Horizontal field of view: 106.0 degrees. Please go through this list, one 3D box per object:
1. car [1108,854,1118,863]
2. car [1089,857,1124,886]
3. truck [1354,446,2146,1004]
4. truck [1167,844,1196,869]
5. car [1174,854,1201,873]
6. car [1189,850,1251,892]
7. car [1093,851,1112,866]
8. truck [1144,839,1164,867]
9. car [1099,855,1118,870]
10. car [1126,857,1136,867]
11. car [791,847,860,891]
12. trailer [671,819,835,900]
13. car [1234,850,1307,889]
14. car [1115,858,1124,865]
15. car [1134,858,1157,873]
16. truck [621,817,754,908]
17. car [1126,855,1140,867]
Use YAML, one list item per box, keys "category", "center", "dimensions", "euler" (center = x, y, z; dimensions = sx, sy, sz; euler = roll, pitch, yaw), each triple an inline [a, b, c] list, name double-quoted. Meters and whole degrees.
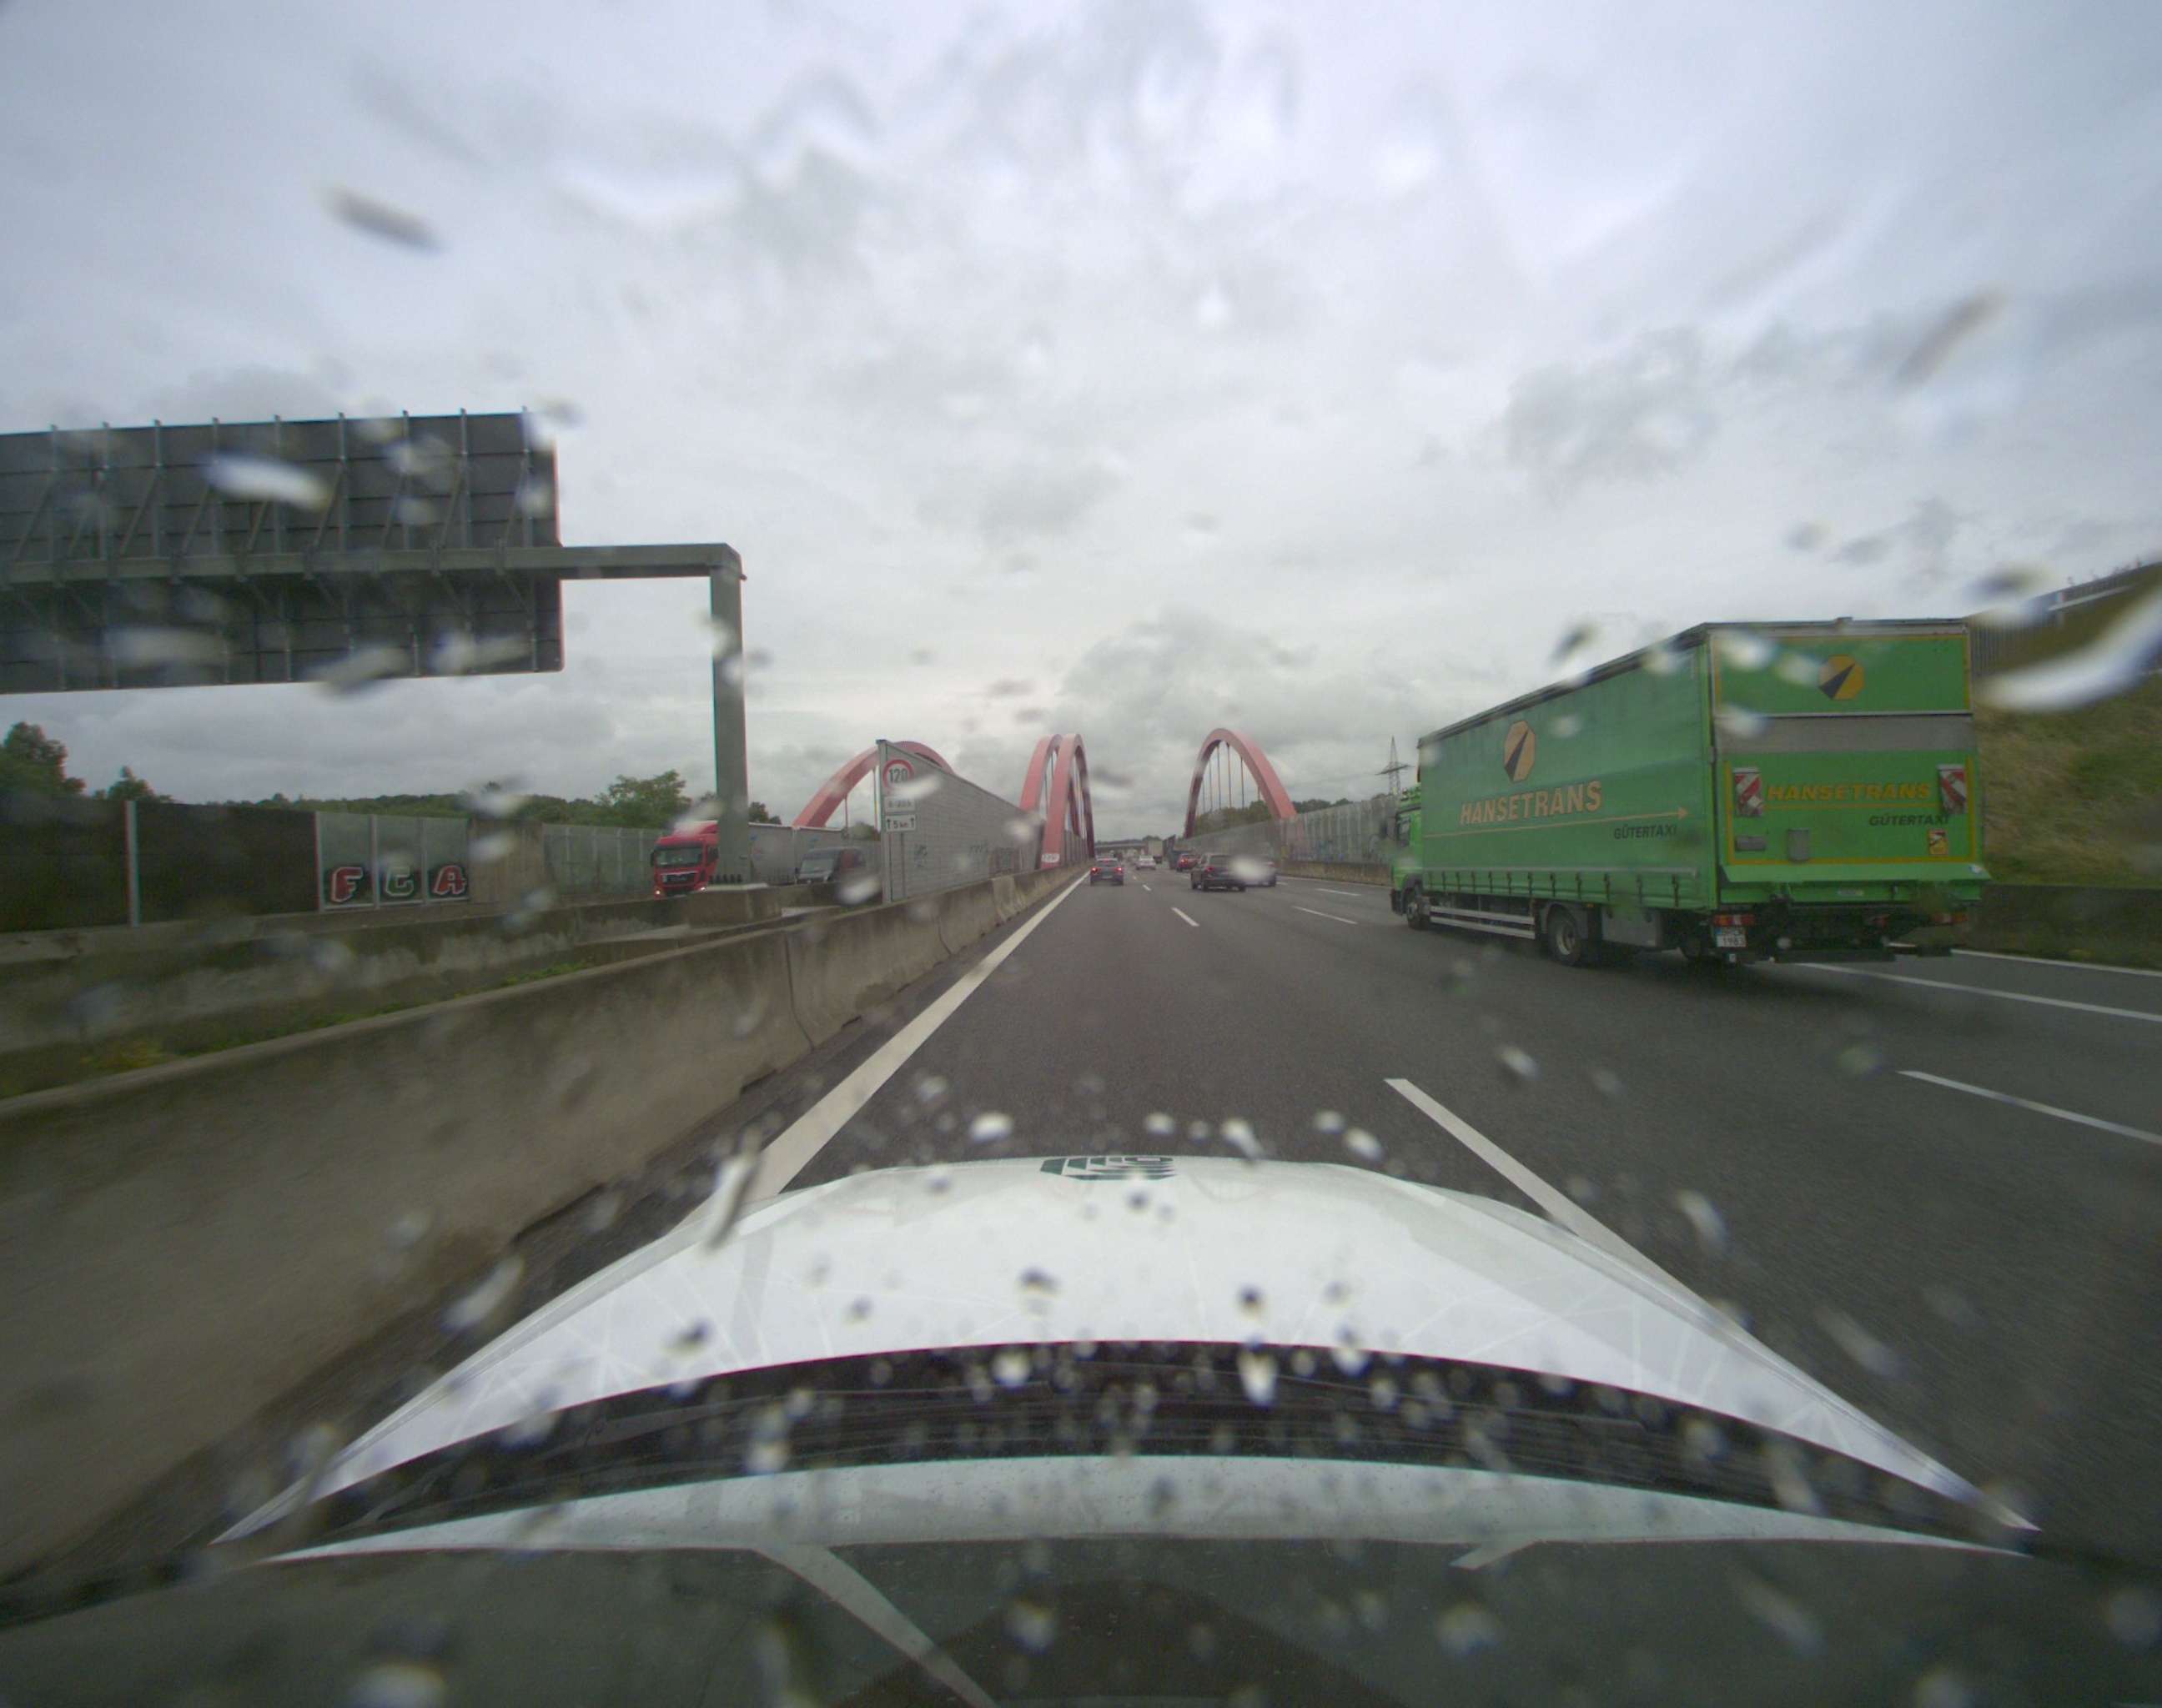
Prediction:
- category: "car"
  center: [6.653, 0.833, 167.480]
  dimensions: [1.986, 1.815, 4.001]
  euler: [-1, 0, 2]
- category: "car"
  center: [1.370, 0.889, 43.300]
  dimensions: [1.757, 1.453, 4.002]
  euler: [-1, 0, 2]
- category: "truck"
  center: [8.217, -1.196, 13.352]
  dimensions: [3.982, 5.266, 11.224]
  euler: [-1, 0, 2]
- category: "truck"
  center: [10.390, 0.276, 84.712]
  dimensions: [2.352, 2.506, 6.146]
  euler: [-1, 0, 2]
- category: "car"
  center: [9.321, 0.798, 71.521]
  dimensions: [1.950, 1.647, 4.000]
  euler: [0, 0, 1]
- category: "car"
  center: [5.926, 0.696, 35.188]
  dimensions: [1.906, 1.670, 4.103]
  euler: [-1, 0, -1]
- category: "car"
  center: [2.385, 0.483, 91.852]
  dimensions: [1.987, 1.585, 4.000]
  euler: [-2, 0, 0]
- category: "truck"
  center: [12.537, -0.136, 140.055]
  dimensions: [3.033, 4.734, 7.683]
  euler: [0, 0, 2]
- category: "car"
  center: [2.686, 0.858, 79.818]
  dimensions: [1.775, 1.406, 3.627]
  euler: [-1, 0, 1]
- category: "car"
  center: [10.917, 1.736, 178.210]
  dimensions: [1.986, 2.014, 4.001]
  euler: [0, 0, 2]
- category: "car"
  center: [-13.121, 0.737, 42.113]
  dimensions: [1.986, 2.112, 4.533]
  euler: [-1, 0, 2]
- category: "trailer"
  center: [-17.441, 0.286, 45.142]
  dimensions: [2.973, 3.729, 14.311]
  euler: [-1, 0, 1]
- category: "car"
  center: [8.497, 0.659, 37.033]
  dimensions: [1.988, 1.619, 5.324]
  euler: [0, 0, -2]
- category: "car"
  center: [9.936, 1.954, 209.762]
  dimensions: [1.985, 1.624, 4.004]
  euler: [-1, 0, 4]
- category: "car"
  center: [6.375, 1.118, 80.737]
  dimensions: [1.986, 1.486, 4.000]
  euler: [-1, 0, 1]
- category: "truck"
  center: [-17.605, 0.341, 36.911]
  dimensions: [2.973, 3.753, 5.918]
  euler: [-1, 0, 1]
- category: "car"
  center: [6.872, 0.900, 108.601]
  dimensions: [1.696, 1.543, 3.840]
  euler: [-1, 0, 2]
